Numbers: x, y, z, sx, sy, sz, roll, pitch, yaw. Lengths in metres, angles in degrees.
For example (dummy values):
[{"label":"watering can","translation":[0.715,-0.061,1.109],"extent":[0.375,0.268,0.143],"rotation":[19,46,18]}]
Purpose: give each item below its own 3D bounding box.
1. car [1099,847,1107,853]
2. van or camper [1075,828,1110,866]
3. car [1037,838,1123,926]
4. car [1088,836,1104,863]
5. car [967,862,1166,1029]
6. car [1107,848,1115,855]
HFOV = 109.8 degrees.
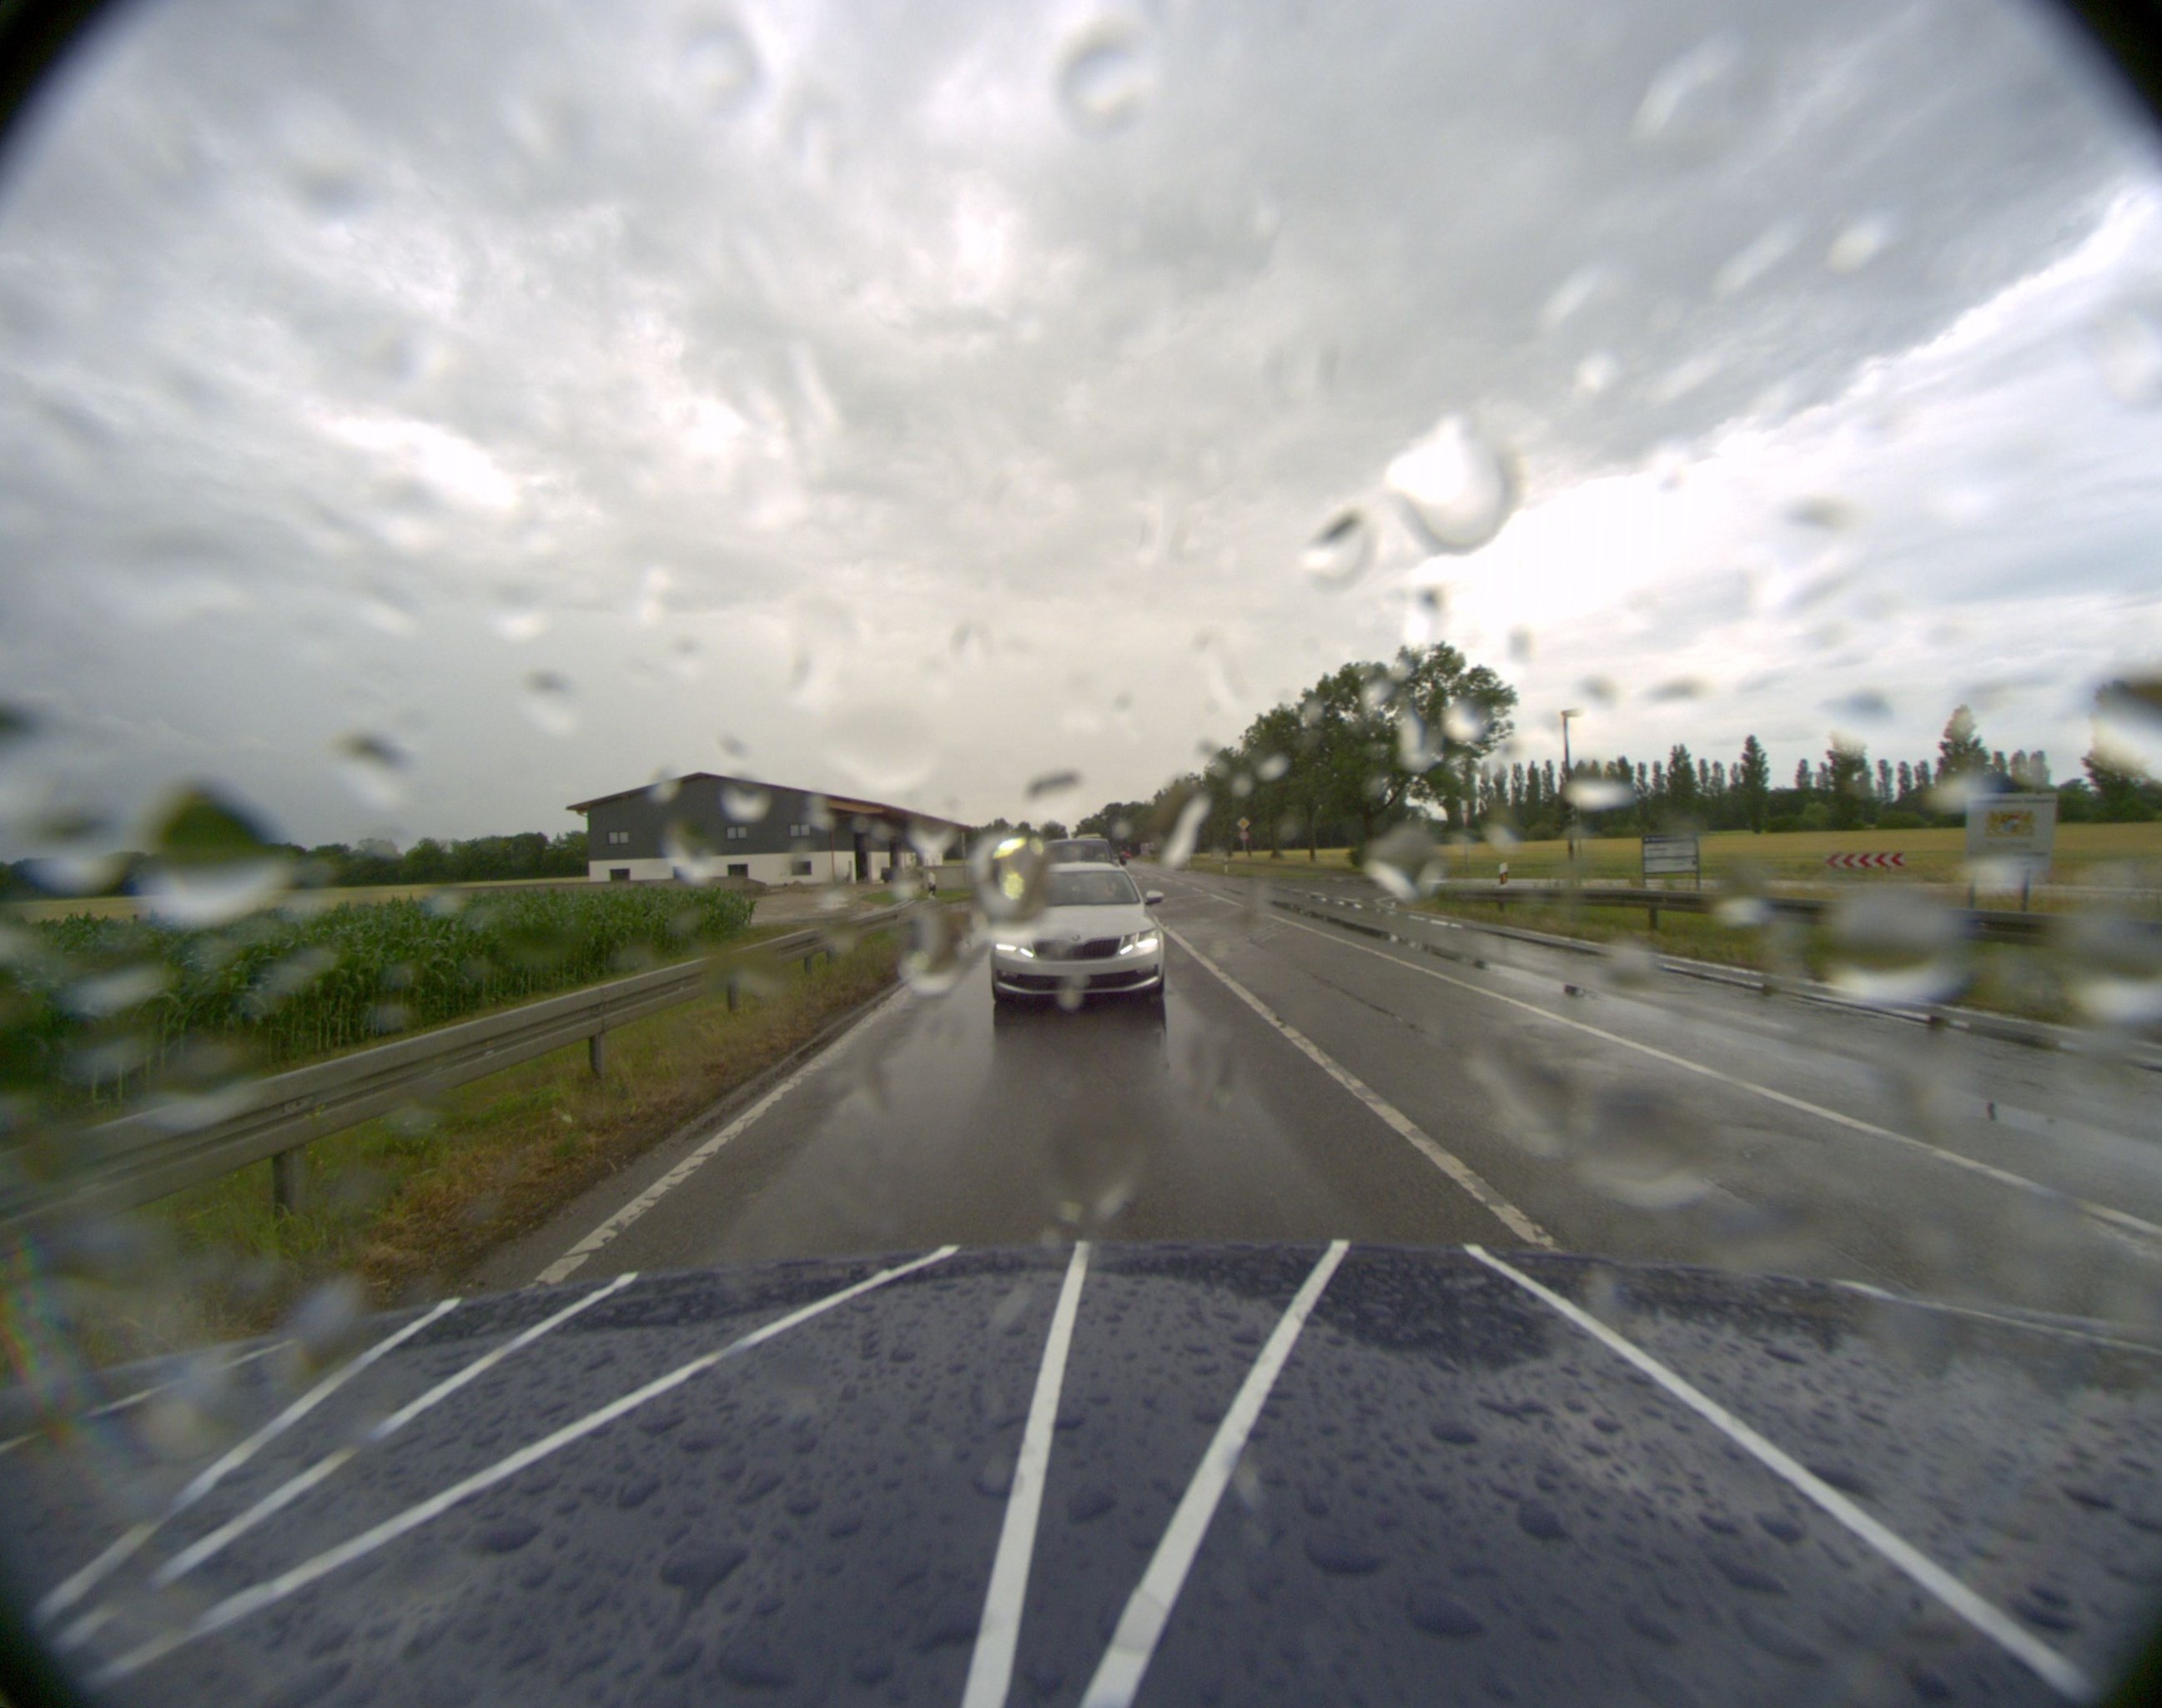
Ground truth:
[{"label":"car","translation":[5.677,-1.050,199.602],"extent":[1.949,1.571,4.443],"rotation":[-2,0,1]},{"label":"van or camper","translation":[1.207,-0.765,79.505],"extent":[3.342,3.624,8.372],"rotation":[-2,1,1]},{"label":"car","translation":[0.025,0.606,19.163],"extent":[1.841,1.888,4.575],"rotation":[-2,1,1]},{"label":"car","translation":[1.806,-0.556,91.396],"extent":[1.771,3.134,4.027],"rotation":[-3,1,0]},{"label":"car","translation":[-0.081,0.869,9.248],"extent":[1.770,1.365,4.575],"rotation":[-2,1,1]},{"label":"car","translation":[6.820,-0.504,174.295],"extent":[1.773,1.514,4.141],"rotation":[-1,0,1]}]
